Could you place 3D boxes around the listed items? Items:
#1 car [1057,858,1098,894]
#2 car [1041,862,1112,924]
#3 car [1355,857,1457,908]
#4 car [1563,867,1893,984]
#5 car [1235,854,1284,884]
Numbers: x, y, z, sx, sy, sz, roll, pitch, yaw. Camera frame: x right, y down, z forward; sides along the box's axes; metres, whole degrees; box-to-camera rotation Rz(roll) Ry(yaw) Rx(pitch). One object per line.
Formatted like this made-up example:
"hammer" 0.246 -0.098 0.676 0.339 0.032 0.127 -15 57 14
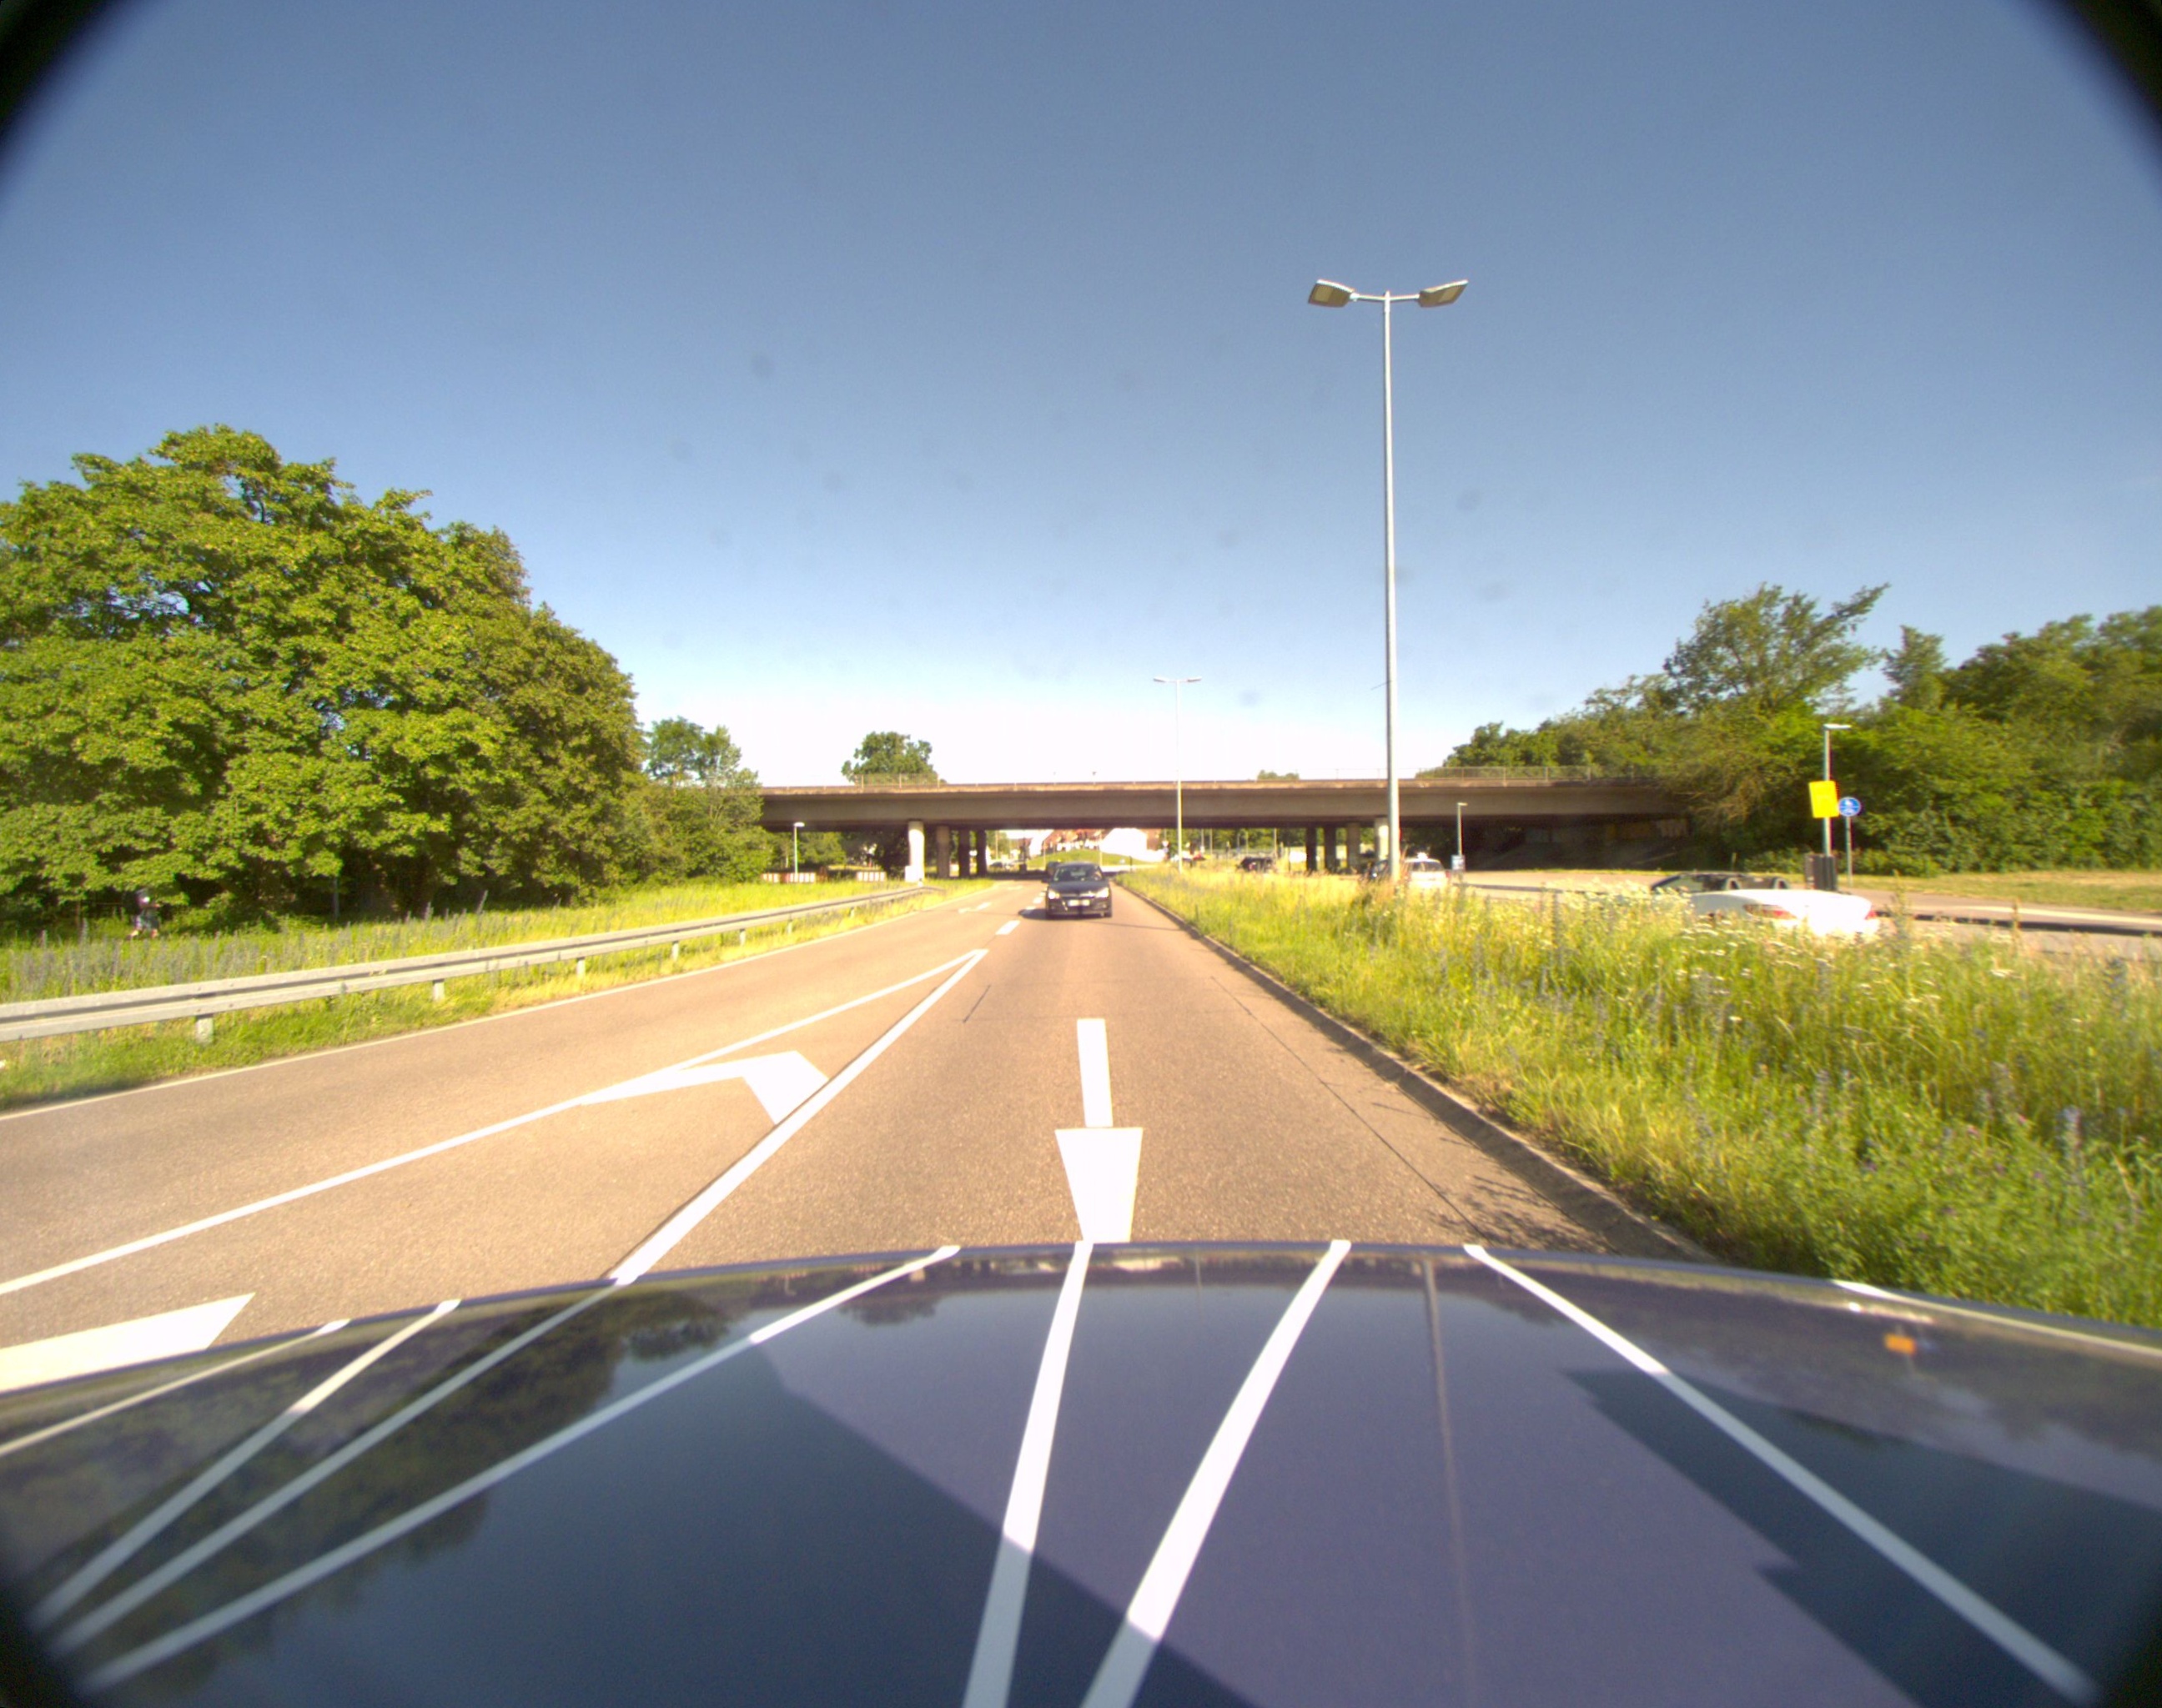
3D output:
"car" -0.131 1.008 36.289 1.827 1.528 4.042 -1 0 1
"car" -0.057 0.995 20.854 1.706 1.446 3.960 -2 0 2
"car" 10.653 0.877 25.154 1.637 1.521 3.591 -1 0 -4
"car" 9.785 0.969 12.004 1.637 1.436 4.103 -1 0 -2
"car" 9.547 0.781 40.987 1.637 1.521 3.592 -1 0 -3
